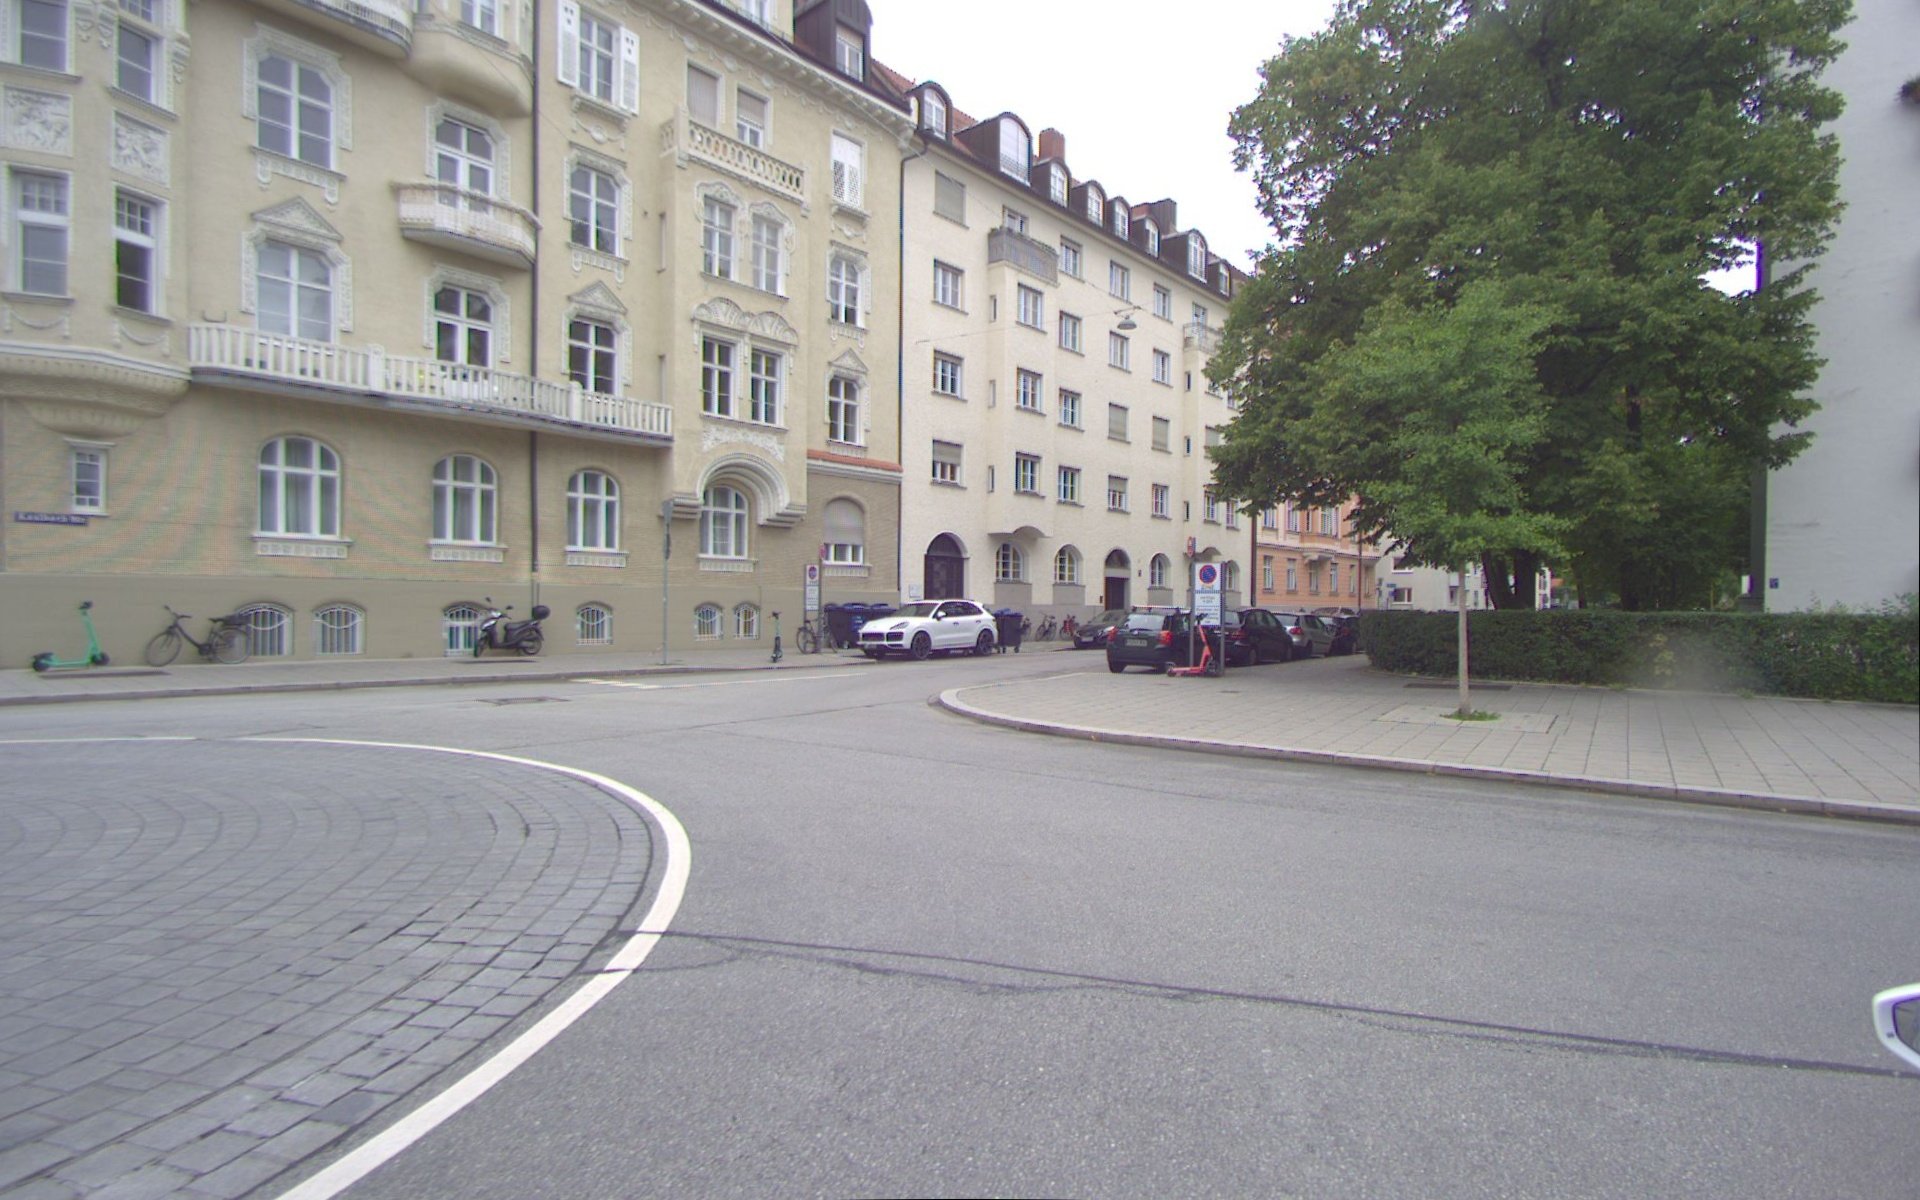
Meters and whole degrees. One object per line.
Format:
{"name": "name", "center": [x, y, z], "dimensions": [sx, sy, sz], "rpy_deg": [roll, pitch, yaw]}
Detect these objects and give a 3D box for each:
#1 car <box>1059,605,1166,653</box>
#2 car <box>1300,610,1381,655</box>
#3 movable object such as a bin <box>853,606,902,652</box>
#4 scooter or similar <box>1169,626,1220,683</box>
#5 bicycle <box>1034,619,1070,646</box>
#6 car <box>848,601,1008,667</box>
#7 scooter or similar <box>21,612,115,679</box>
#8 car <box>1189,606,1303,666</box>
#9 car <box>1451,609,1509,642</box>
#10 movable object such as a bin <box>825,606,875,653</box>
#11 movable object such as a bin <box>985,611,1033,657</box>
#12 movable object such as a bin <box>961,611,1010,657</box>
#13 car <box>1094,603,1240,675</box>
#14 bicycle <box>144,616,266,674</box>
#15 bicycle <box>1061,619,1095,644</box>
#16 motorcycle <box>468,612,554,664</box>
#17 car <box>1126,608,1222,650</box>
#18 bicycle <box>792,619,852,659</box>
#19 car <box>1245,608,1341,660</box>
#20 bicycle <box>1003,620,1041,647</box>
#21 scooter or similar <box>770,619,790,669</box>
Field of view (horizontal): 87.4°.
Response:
{"name": "car", "center": [5.719, 1.036, 37.310], "dimensions": [1.950, 1.637, 4.695], "rpy_deg": [1, 0, 37]}
{"name": "car", "center": [13.888, 1.146, 36.533], "dimensions": [1.770, 1.525, 4.101], "rpy_deg": [-1, -1, 35]}
{"name": "movable object such as a bin", "center": [-2.702, 0.930, 32.867], "dimensions": [1.079, 1.444, 1.167], "rpy_deg": [1, 0, 42]}
{"name": "scooter or similar", "center": [4.740, 1.086, 20.304], "dimensions": [0.982, 1.103, 0.391], "rpy_deg": [1, 0, 13]}
{"name": "bicycle", "center": [3.818, 1.345, 41.577], "dimensions": [0.556, 1.063, 1.822], "rpy_deg": [0, 0, 39]}
{"name": "car", "center": [-0.840, 0.913, 29.084], "dimensions": [1.952, 1.723, 4.818], "rpy_deg": [1, 0, 39]}
{"name": "scooter or similar", "center": [-15.744, 0.781, 17.761], "dimensions": [0.458, 1.130, 1.216], "rpy_deg": [1, 0, 8]}
{"name": "car", "center": [8.036, 0.963, 27.986], "dimensions": [1.770, 1.525, 4.220], "rpy_deg": [-1, -1, 35]}
{"name": "car", "center": [27.440, 1.329, 52.956], "dimensions": [1.815, 1.656, 3.798], "rpy_deg": [-1, -1, 43]}
{"name": "movable object such as a bin", "center": [-3.494, 0.928, 31.978], "dimensions": [1.079, 1.444, 1.167], "rpy_deg": [1, 0, 42]}
{"name": "movable object such as a bin", "center": [1.597, 1.099, 32.946], "dimensions": [1.079, 1.444, 1.167], "rpy_deg": [1, 0, 42]}
{"name": "movable object such as a bin", "center": [0.819, 1.070, 32.053], "dimensions": [1.079, 1.444, 1.167], "rpy_deg": [1, 0, 42]}
{"name": "car", "center": [4.979, 0.877, 23.722], "dimensions": [1.795, 1.525, 4.408], "rpy_deg": [-1, -1, 35]}
{"name": "bicycle", "center": [-14.618, 0.847, 19.484], "dimensions": [0.556, 1.063, 1.822], "rpy_deg": [0, 0, 39]}
{"name": "bicycle", "center": [5.088, 1.340, 43.136], "dimensions": [0.556, 1.063, 1.822], "rpy_deg": [0, 0, 39]}
{"name": "motorcycle", "center": [-10.690, 0.876, 23.963], "dimensions": [0.591, 1.192, 1.822], "rpy_deg": [0, 0, 39]}
{"name": "car", "center": [8.801, 1.145, 41.071], "dimensions": [1.953, 1.602, 4.385], "rpy_deg": [1, 0, 41]}
{"name": "bicycle", "center": [-3.924, 1.094, 28.655], "dimensions": [0.556, 1.063, 1.822], "rpy_deg": [0, 0, 39]}
{"name": "car", "center": [10.601, 1.043, 31.781], "dimensions": [1.770, 1.525, 4.101], "rpy_deg": [-1, -1, 35]}
{"name": "bicycle", "center": [2.468, 1.320, 39.963], "dimensions": [0.556, 1.063, 1.822], "rpy_deg": [0, 0, 39]}
{"name": "scooter or similar", "center": [-4.557, 1.105, 25.445], "dimensions": [0.459, 1.209, 1.213], "rpy_deg": [1, 0, -10]}
